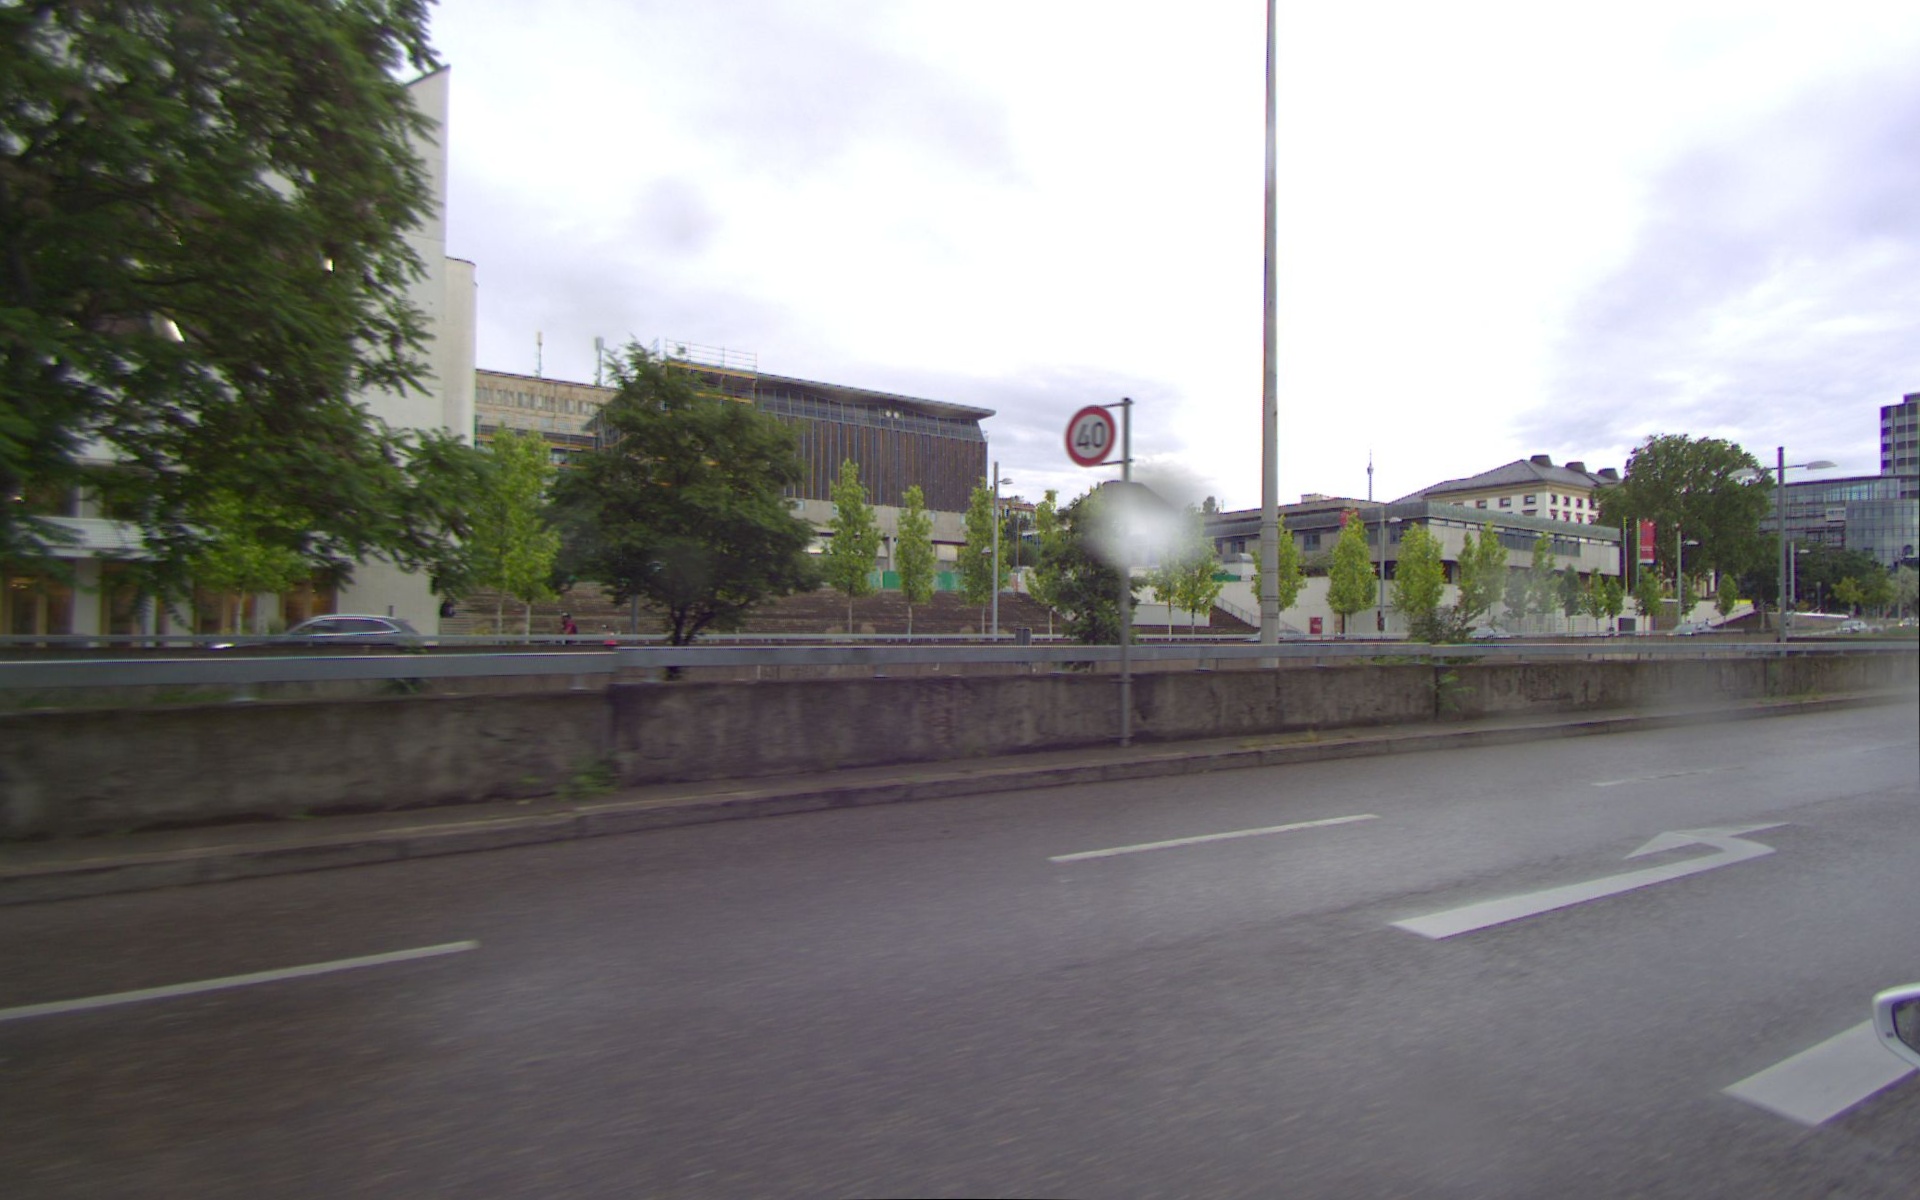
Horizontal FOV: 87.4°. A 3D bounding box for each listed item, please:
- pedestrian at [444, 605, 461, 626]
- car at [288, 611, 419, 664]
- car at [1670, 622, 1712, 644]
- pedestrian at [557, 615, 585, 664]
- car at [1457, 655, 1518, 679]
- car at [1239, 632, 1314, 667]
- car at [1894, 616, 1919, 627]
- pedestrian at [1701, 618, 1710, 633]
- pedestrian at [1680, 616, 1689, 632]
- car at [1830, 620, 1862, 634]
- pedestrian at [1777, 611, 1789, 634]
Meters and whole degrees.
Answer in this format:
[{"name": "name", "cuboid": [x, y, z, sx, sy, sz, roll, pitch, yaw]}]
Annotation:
[{"name": "pedestrian", "cuboid": [-23.123, 0.706, 45.741, 0.621, 0.899, 0.803, 2, -1, -30]}, {"name": "car", "cuboid": [-15.736, 0.965, 26.113, 2.796, 1.294, 1.285, 2, -1, -37]}, {"name": "car", "cuboid": [52.556, 2.381, 72.218, 2.930, 1.459, 1.456, 2, -1, -32]}, {"name": "pedestrian", "cuboid": [-15.301, 1.551, 39.488, 0.820, 1.891, 1.080, 2, -1, -30]}, {"name": "car", "cuboid": [27.194, 3.425, 51.803, 3.018, 1.144, 1.479, 2, -1, -33]}, {"name": "car", "cuboid": [15.157, 2.362, 48.052, 3.441, 1.576, 1.683, 2, -1, -35]}, {"name": "car", "cuboid": [102.875, 2.297, 109.108, 2.988, 1.129, 1.432, 2, -1, -33]}, {"name": "pedestrian", "cuboid": [71.539, 2.425, 96.397, 0.624, 1.441, 0.490, 2, 0, -25]}, {"name": "pedestrian", "cuboid": [65.115, 2.167, 90.308, 0.570, 1.401, 0.464, 2, 0, -31]}, {"name": "car", "cuboid": [85.669, 2.586, 97.132, 3.128, 1.271, 1.401, 2, -1, -29]}, {"name": "pedestrian", "cuboid": [79.794, 2.167, 97.414, 0.712, 2.120, 0.769, -2, 3, 24]}]
